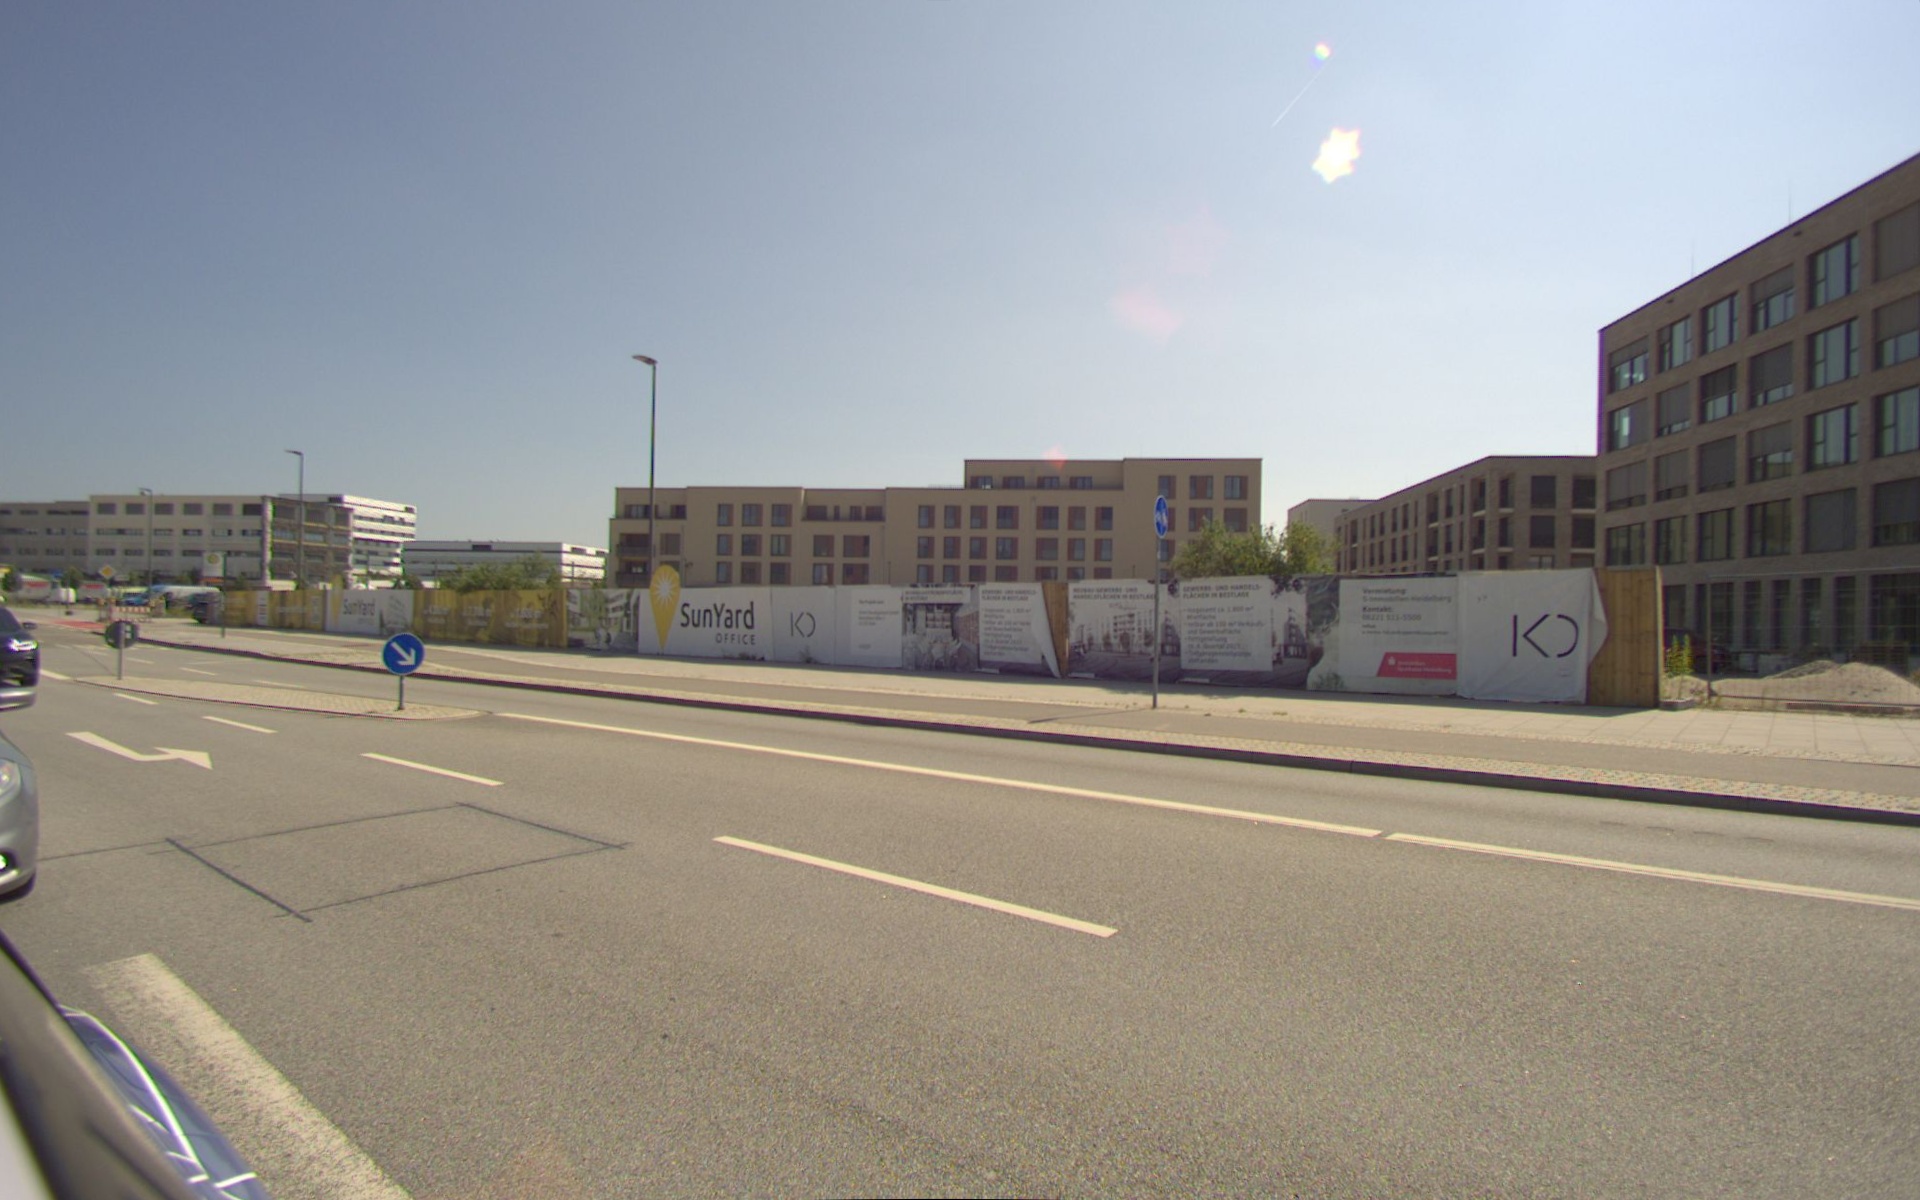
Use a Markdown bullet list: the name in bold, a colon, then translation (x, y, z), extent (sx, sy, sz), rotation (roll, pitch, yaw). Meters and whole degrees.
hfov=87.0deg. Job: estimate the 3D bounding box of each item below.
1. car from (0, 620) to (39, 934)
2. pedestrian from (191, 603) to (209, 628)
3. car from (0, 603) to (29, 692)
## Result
- **car**: translation (-6.312, 0.816, 5.294), extent (4.134, 1.390, 1.762), rotation (-1, 0, 41)
- **pedestrian**: translation (-48.873, 0.975, 65.098), extent (0.610, 1.598, 0.703), rotation (-1, 0, 5)
- **car**: translation (-19.816, 0.913, 19.876), extent (4.364, 1.654, 1.783), rotation (-1, 0, 41)
